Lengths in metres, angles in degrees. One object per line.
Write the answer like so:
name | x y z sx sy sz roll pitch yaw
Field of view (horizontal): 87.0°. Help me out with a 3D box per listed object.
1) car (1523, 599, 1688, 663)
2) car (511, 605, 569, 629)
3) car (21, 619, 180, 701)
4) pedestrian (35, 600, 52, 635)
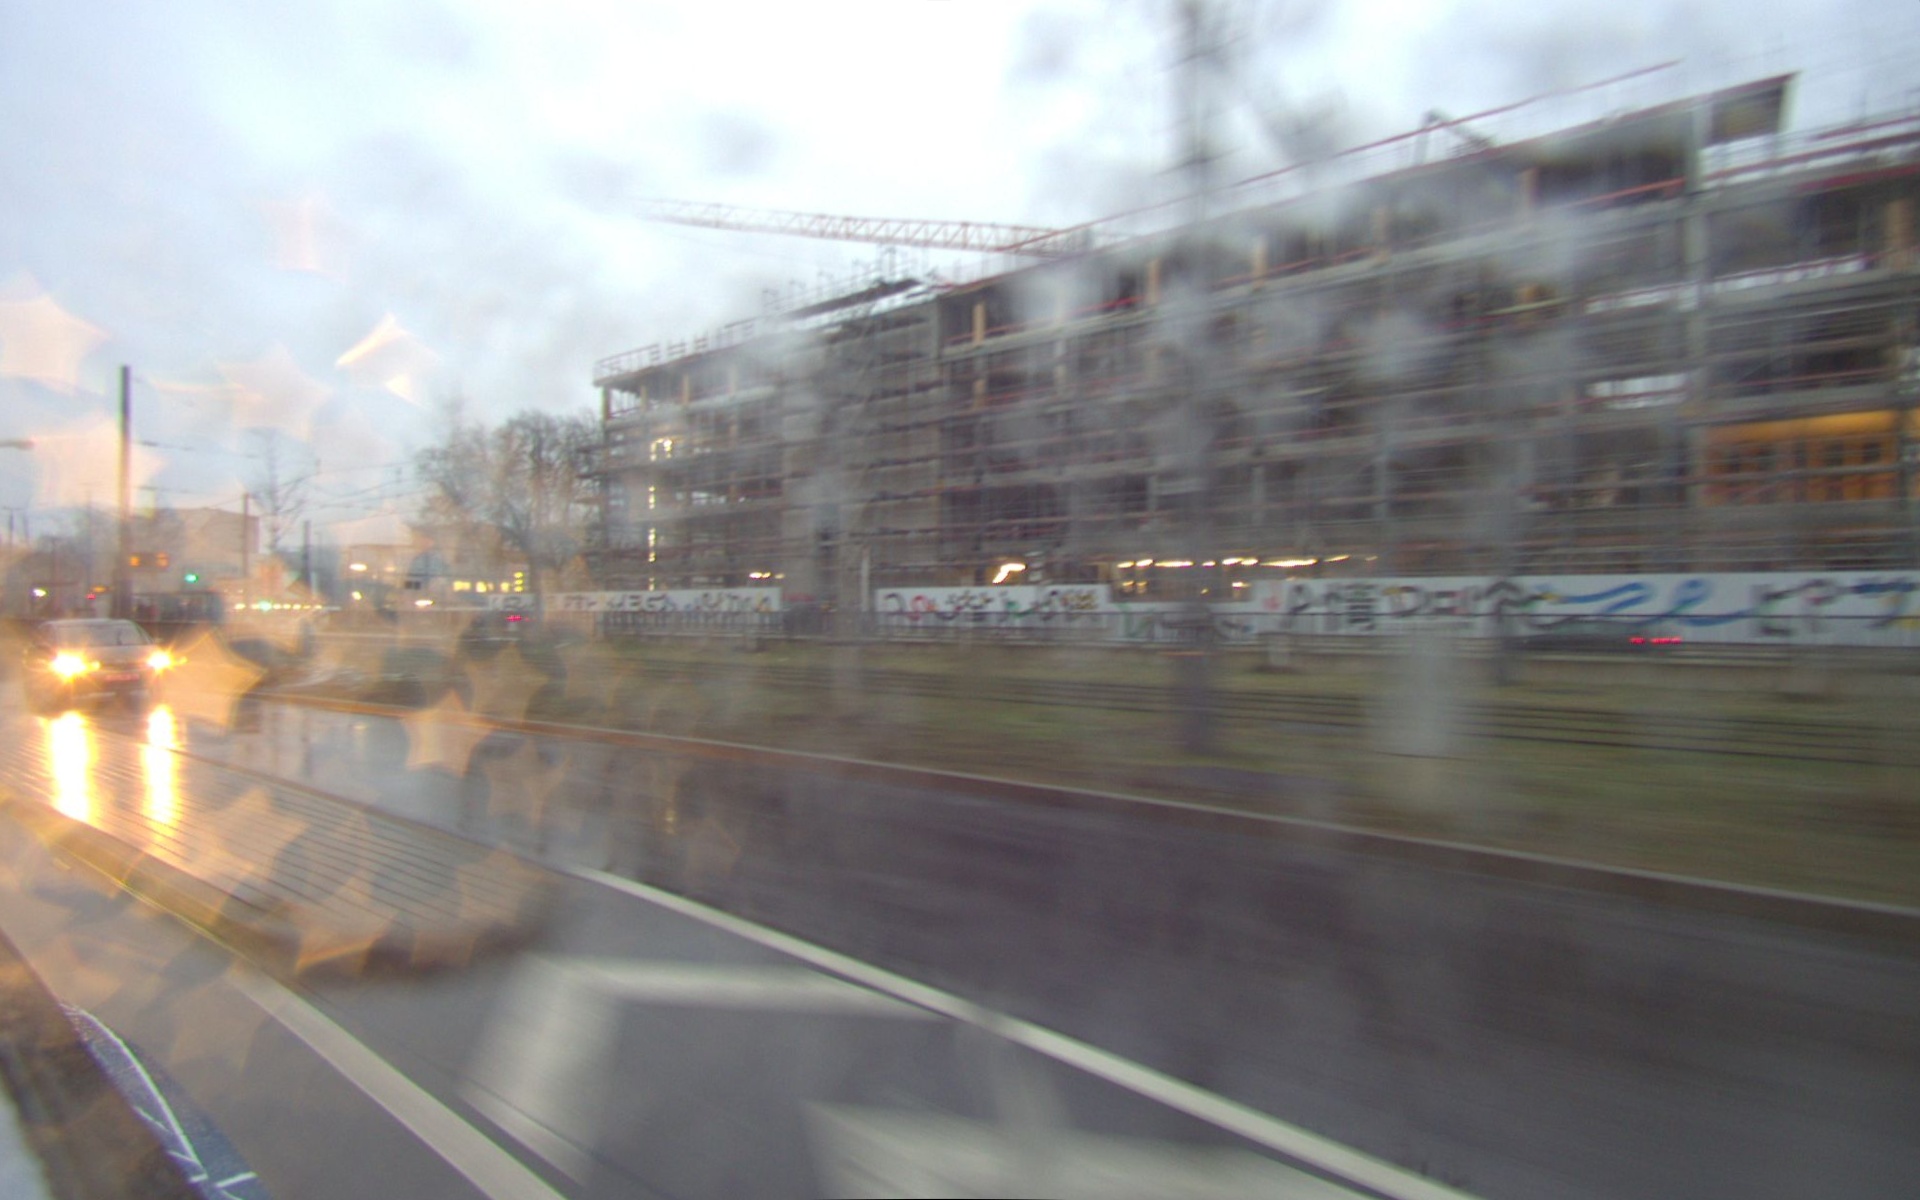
car | 18.191 0.820 28.584 3.761 1.675 1.736 -1 0 40
car | -27.160 1.099 65.398 4.335 1.425 1.666 -1 0 39
car | -17.299 1.124 20.307 4.001 1.464 1.786 -1 -2 40
pedestrian | -45.459 0.884 50.201 0.577 1.714 0.741 -1 0 -41
